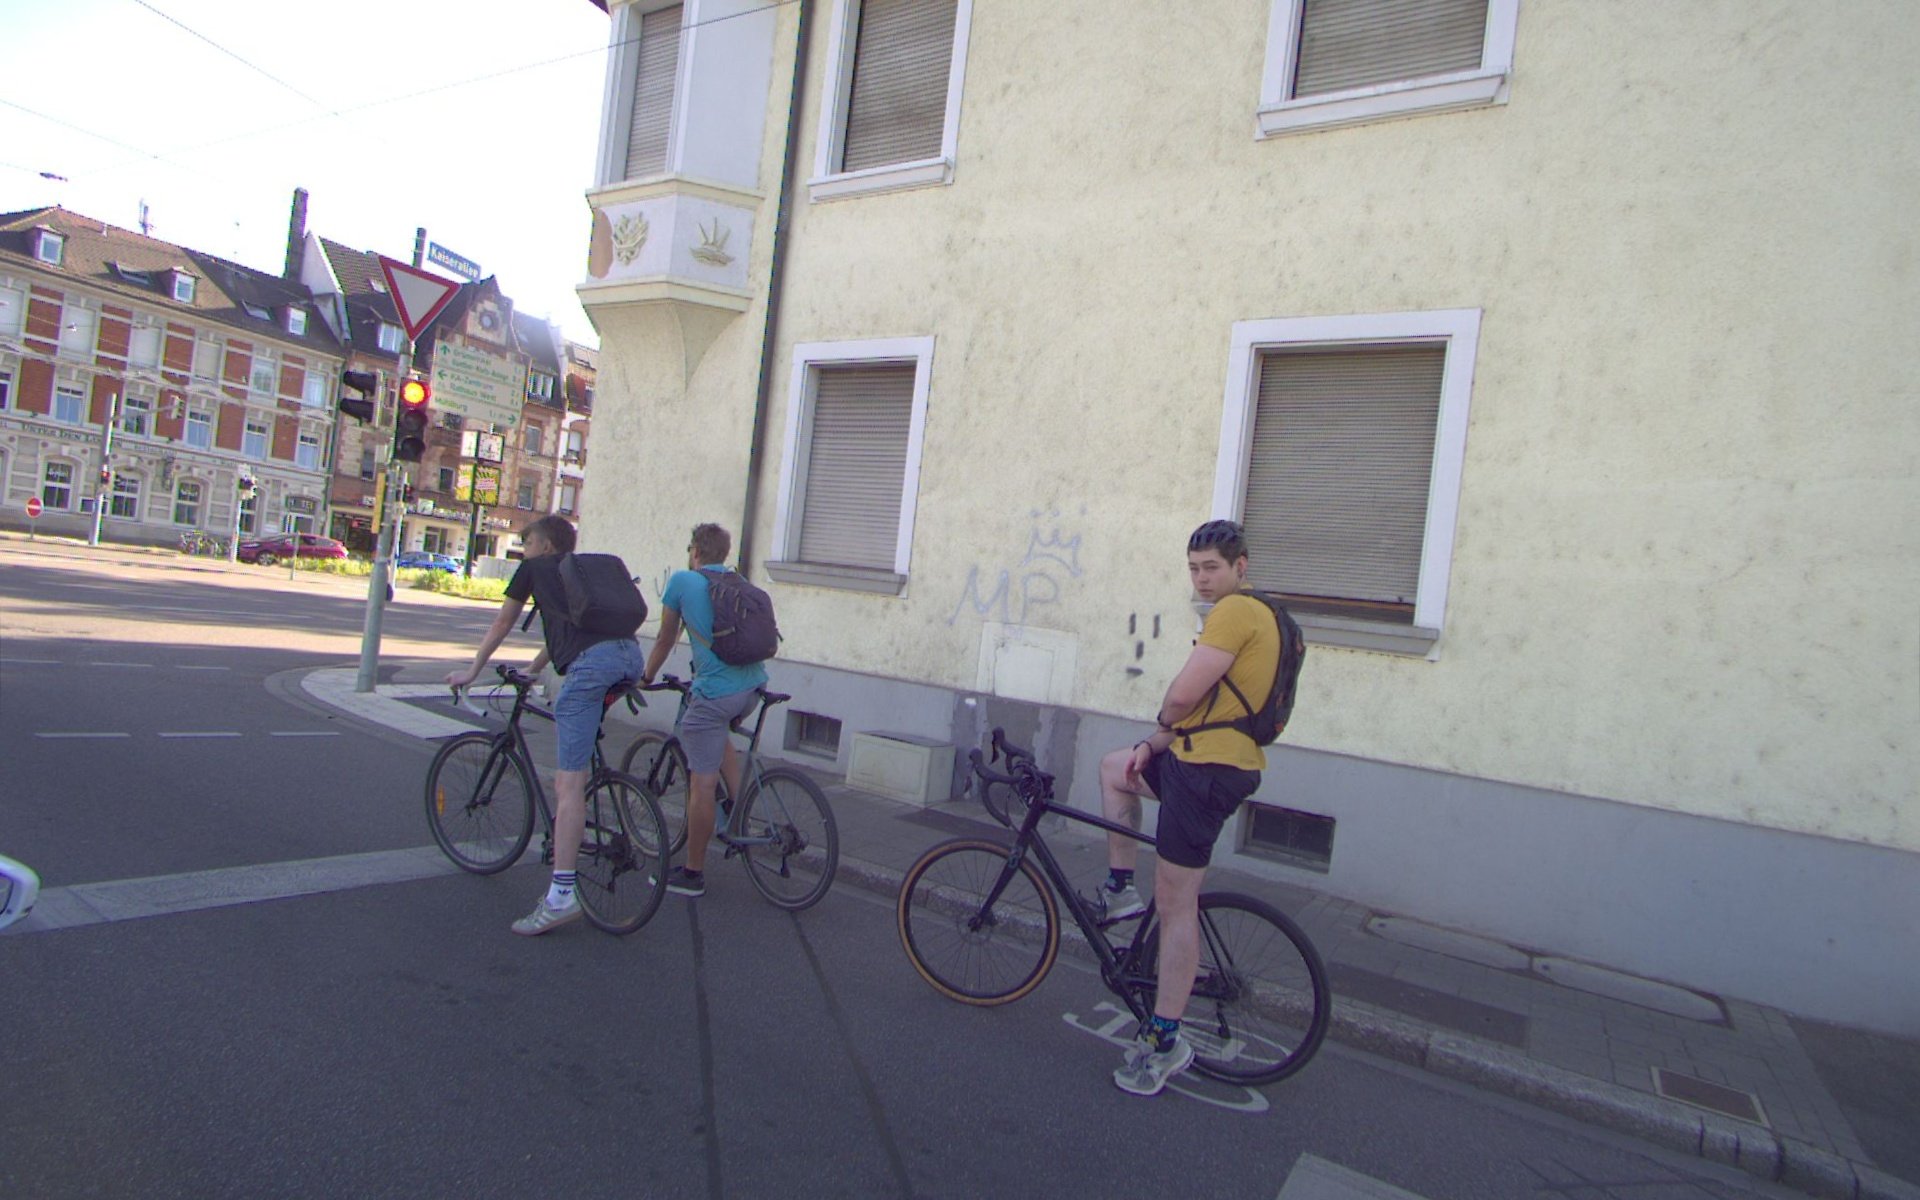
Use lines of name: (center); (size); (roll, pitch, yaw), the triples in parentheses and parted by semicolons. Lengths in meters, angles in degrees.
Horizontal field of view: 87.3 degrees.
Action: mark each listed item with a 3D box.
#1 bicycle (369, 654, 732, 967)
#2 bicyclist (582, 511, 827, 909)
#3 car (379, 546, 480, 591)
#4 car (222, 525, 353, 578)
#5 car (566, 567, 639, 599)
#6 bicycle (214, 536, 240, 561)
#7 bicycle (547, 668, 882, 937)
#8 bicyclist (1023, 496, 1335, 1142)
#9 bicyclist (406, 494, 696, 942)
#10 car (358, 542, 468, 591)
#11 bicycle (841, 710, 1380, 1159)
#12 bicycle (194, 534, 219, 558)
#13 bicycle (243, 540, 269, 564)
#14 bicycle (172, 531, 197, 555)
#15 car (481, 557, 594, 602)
bicycle: (-1.898, 0.862, 4.555); (1.753, 1.003, 0.482); (6, -1, 32)
bicyclist: (-1.343, 0.525, 5.275); (0.960, 1.868, 0.504); (6, -1, 32)
car: (-26.571, -1.558, 50.483); (1.775, 1.641, 3.994); (6, -2, 33)
car: (-26.326, -1.891, 39.504); (1.569, 1.443, 3.876); (7, -1, 32)
car: (-23.116, -1.086, 65.189); (1.842, 1.454, 3.985); (6, -2, 35)
bicycle: (-34.261, -2.419, 47.022); (0.762, 0.995, 2.186); (8, -2, -39)
bicycle: (-1.314, 0.971, 5.222); (1.753, 0.995, 0.504); (6, -1, 32)
bicyclist: (0.818, 0.708, 3.674); (0.763, 1.990, 0.783); (7, 0, 18)
bicyclist: (-1.850, 0.477, 4.558); (0.920, 1.787, 0.590); (6, -1, 32)
car: (-25.437, -1.549, 46.889); (1.775, 1.641, 3.994); (6, -2, 33)
bicycle: (0.558, 1.118, 3.791); (1.709, 1.119, 0.783); (7, -1, 18)
bicycle: (-34.758, -2.509, 46.400); (0.762, 0.979, 2.186); (8, -2, -39)
bicycle: (-33.433, -2.293, 47.750); (0.762, 1.019, 2.196); (8, -2, -39)
bicycle: (-35.360, -2.610, 45.875); (0.762, 0.974, 2.186); (8, -2, -39)
car: (-20.618, -0.986, 49.293); (1.774, 1.487, 4.866); (8, -1, 32)
